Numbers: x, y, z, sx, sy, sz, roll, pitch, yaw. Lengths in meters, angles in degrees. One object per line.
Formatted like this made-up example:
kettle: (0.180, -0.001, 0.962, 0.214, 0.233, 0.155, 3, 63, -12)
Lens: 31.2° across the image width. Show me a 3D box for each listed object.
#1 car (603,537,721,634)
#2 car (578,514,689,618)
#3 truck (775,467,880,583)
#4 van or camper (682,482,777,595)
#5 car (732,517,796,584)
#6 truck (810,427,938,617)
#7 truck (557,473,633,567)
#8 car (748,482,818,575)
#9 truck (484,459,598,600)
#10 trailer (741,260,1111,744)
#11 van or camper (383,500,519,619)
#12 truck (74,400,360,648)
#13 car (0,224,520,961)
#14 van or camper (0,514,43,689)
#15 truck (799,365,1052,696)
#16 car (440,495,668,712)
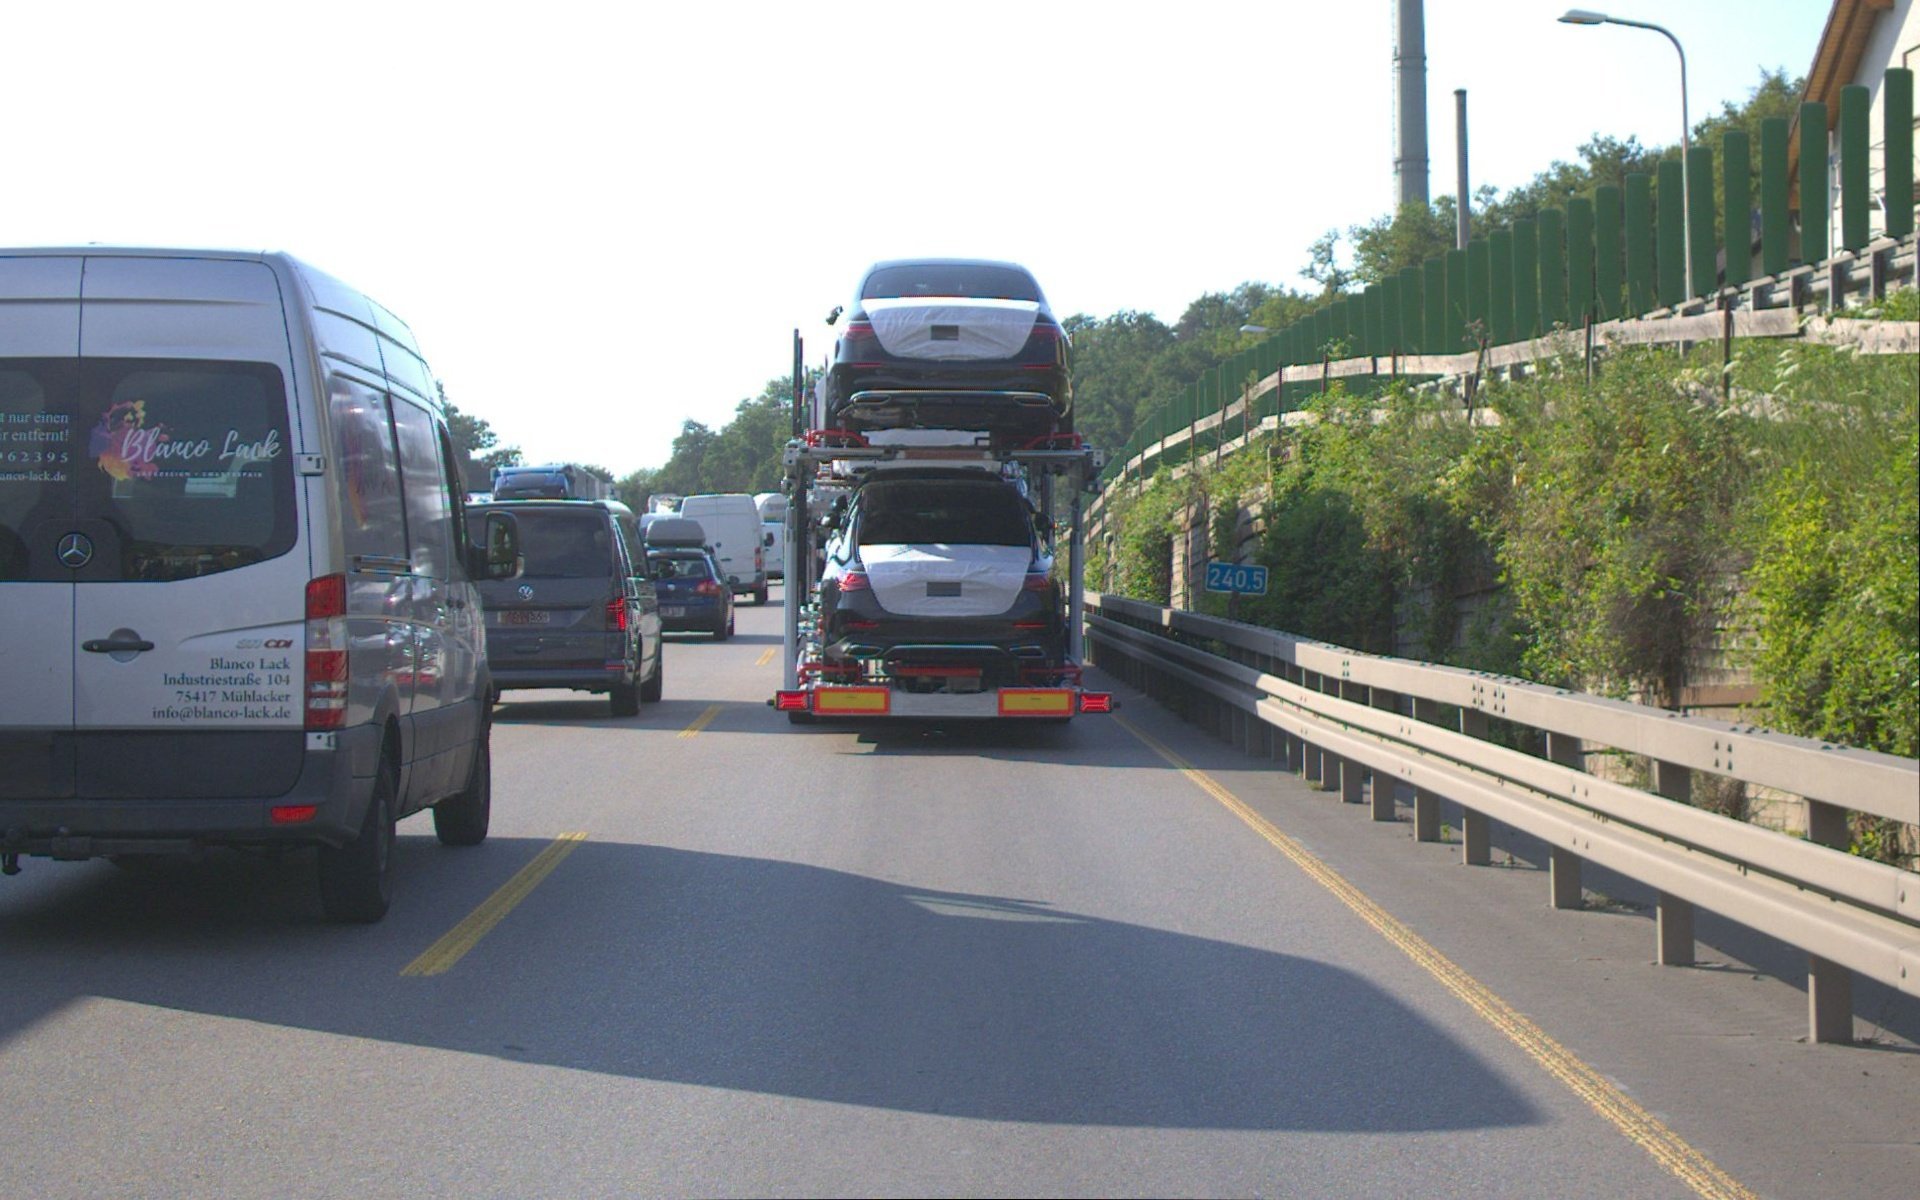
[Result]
car: (-4.876, -0.273, 56.679, 1.725, 1.517, 3.974, 1, 1, -2)
car: (-8.114, -0.836, 85.730, 2.471, 2.525, 4.000, 0, 0, -1)
truck: (-5.449, -3.102, 143.564, 4.065, 4.663, 10.592, 0, 1, -1)
van or camper: (-5.425, -1.416, 81.532, 1.968, 2.583, 5.042, 1, 0, -1)
car: (-6.271, -1.583, 110.297, 1.885, 2.093, 3.766, 0, 1, -1)
truck: (-2.235, -1.947, 86.857, 2.907, 4.591, 7.287, 0, 1, -4)
truck: (-16.966, -3.684, 160.661, 2.982, 4.139, 15.858, 0, 1, -4)
car: (-9.896, -3.946, 190.839, 3.444, 5.018, 9.655, 0, 1, -5)
truck: (-13.116, -2.216, 108.319, 2.624, 4.098, 9.629, -3, 1, -2)
trailer: (-0.319, -0.751, 32.904, 2.682, 3.522, 15.289, 1, 0, -1)
van or camper: (-12.044, -0.986, 81.731, 2.312, 2.653, 6.455, -2, 1, -1)
truck: (-11.263, -1.092, 52.894, 2.714, 3.413, 8.141, -3, 0, -2)
car: (-3.268, -0.073, 15.128, 1.993, 2.639, 5.531, -1, 1, -1)
van or camper: (-11.442, 0.015, 36.999, 1.917, 1.916, 4.923, 1, 1, -1)
truck: (-0.401, -0.763, 40.473, 2.682, 3.523, 7.194, 1, 0, 0)
car: (-3.760, 0.036, 32.404, 1.808, 1.897, 4.000, 1, 0, -2)
